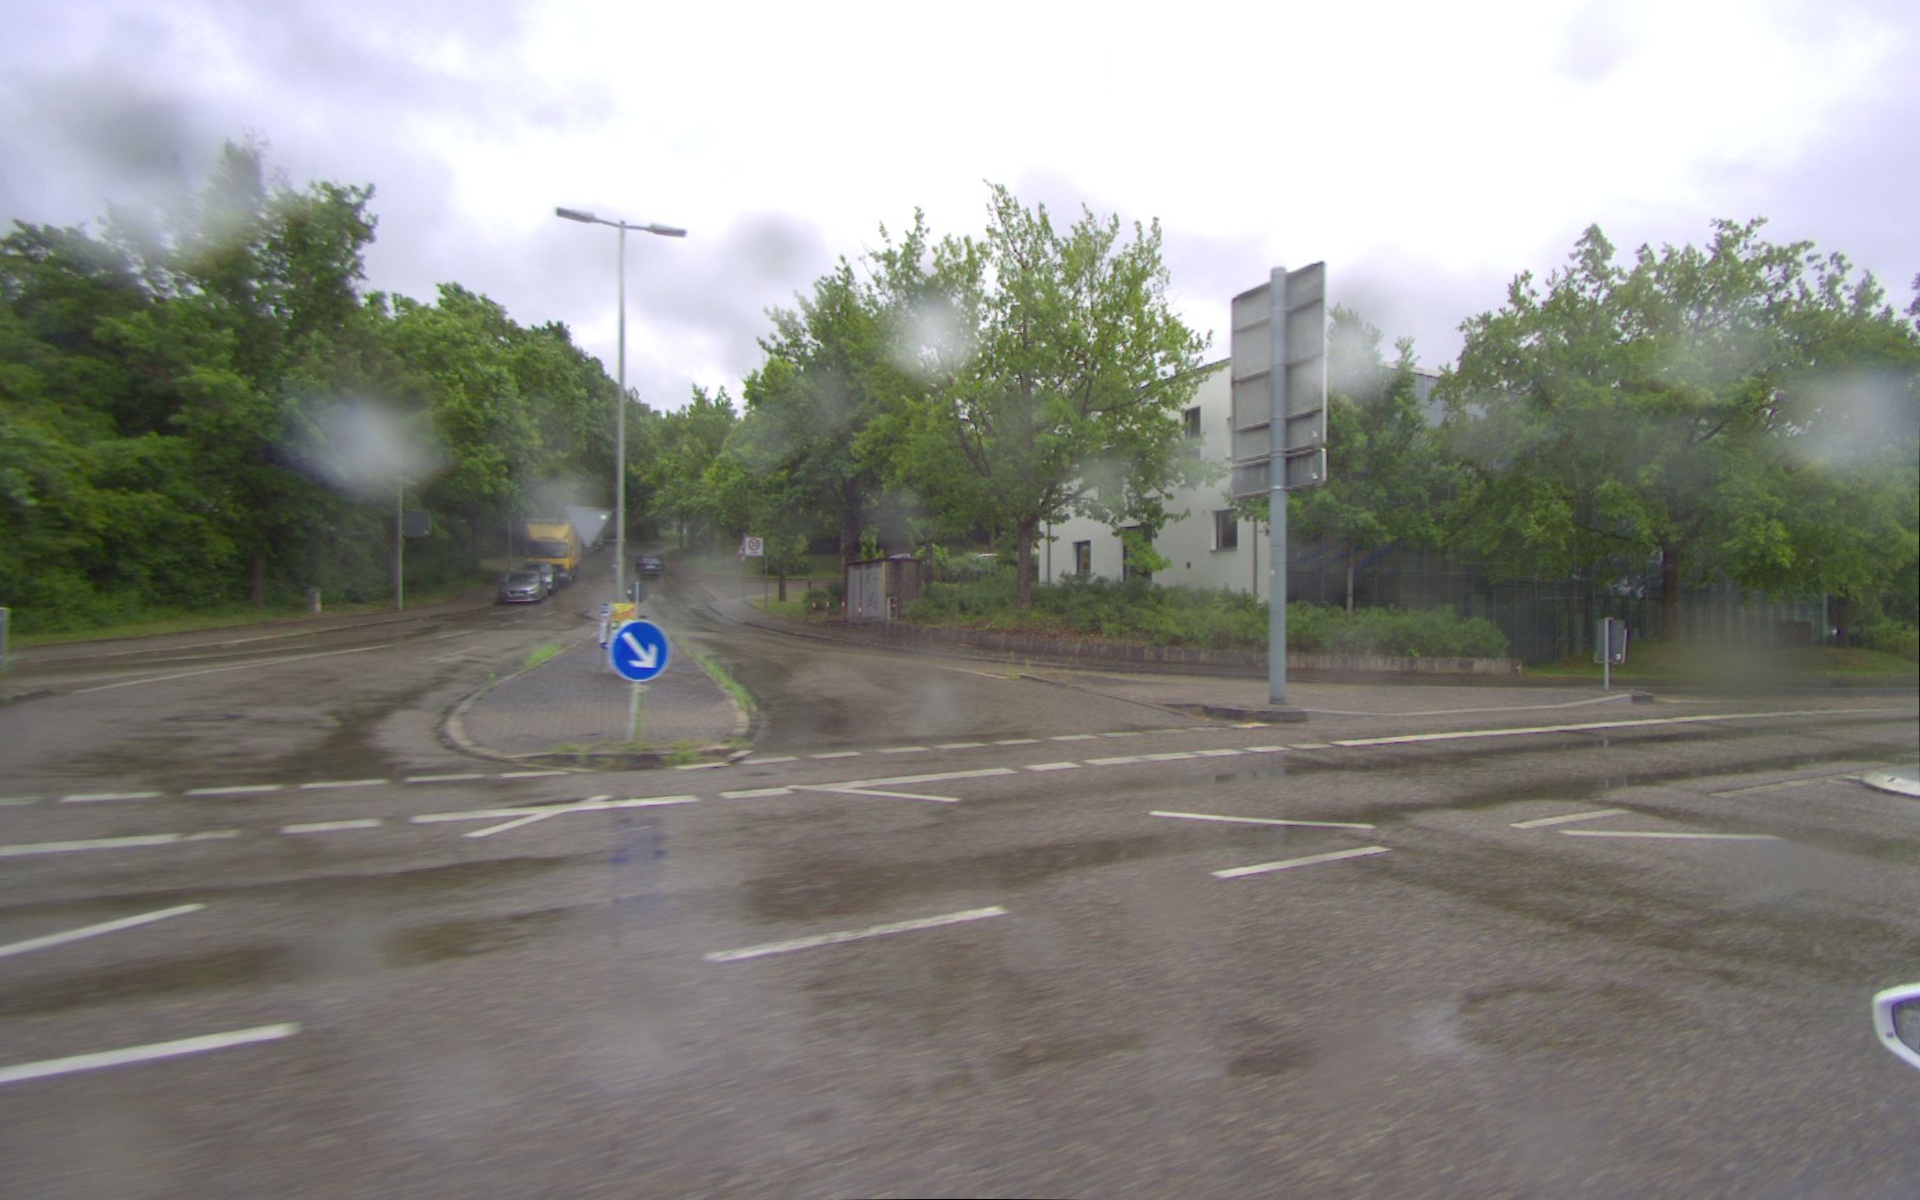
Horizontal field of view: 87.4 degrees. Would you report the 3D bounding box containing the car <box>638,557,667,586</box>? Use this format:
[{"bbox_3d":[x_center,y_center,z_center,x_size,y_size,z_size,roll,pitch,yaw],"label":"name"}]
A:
[{"bbox_3d":[-20.670,-1.937,67.396,1.772,1.786,3.983,1,3,-18],"label":"car"}]

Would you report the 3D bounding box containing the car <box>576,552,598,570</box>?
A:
[{"bbox_3d":[-38.174,-3.962,102.818,1.969,1.786,4.377,1,1,-19],"label":"car"}]

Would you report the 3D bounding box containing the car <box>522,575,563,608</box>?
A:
[{"bbox_3d":[-21.907,-0.490,52.855,1.453,1.674,3.870,1,1,-15],"label":"car"}]

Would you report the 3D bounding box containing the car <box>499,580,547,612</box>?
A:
[{"bbox_3d":[-20.379,-0.223,46.916,1.453,1.419,3.870,1,1,-15],"label":"car"}]

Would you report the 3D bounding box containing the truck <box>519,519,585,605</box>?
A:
[{"bbox_3d":[-24.544,-2.237,60.931,2.772,4.717,10.649,1,1,-17],"label":"truck"}]
